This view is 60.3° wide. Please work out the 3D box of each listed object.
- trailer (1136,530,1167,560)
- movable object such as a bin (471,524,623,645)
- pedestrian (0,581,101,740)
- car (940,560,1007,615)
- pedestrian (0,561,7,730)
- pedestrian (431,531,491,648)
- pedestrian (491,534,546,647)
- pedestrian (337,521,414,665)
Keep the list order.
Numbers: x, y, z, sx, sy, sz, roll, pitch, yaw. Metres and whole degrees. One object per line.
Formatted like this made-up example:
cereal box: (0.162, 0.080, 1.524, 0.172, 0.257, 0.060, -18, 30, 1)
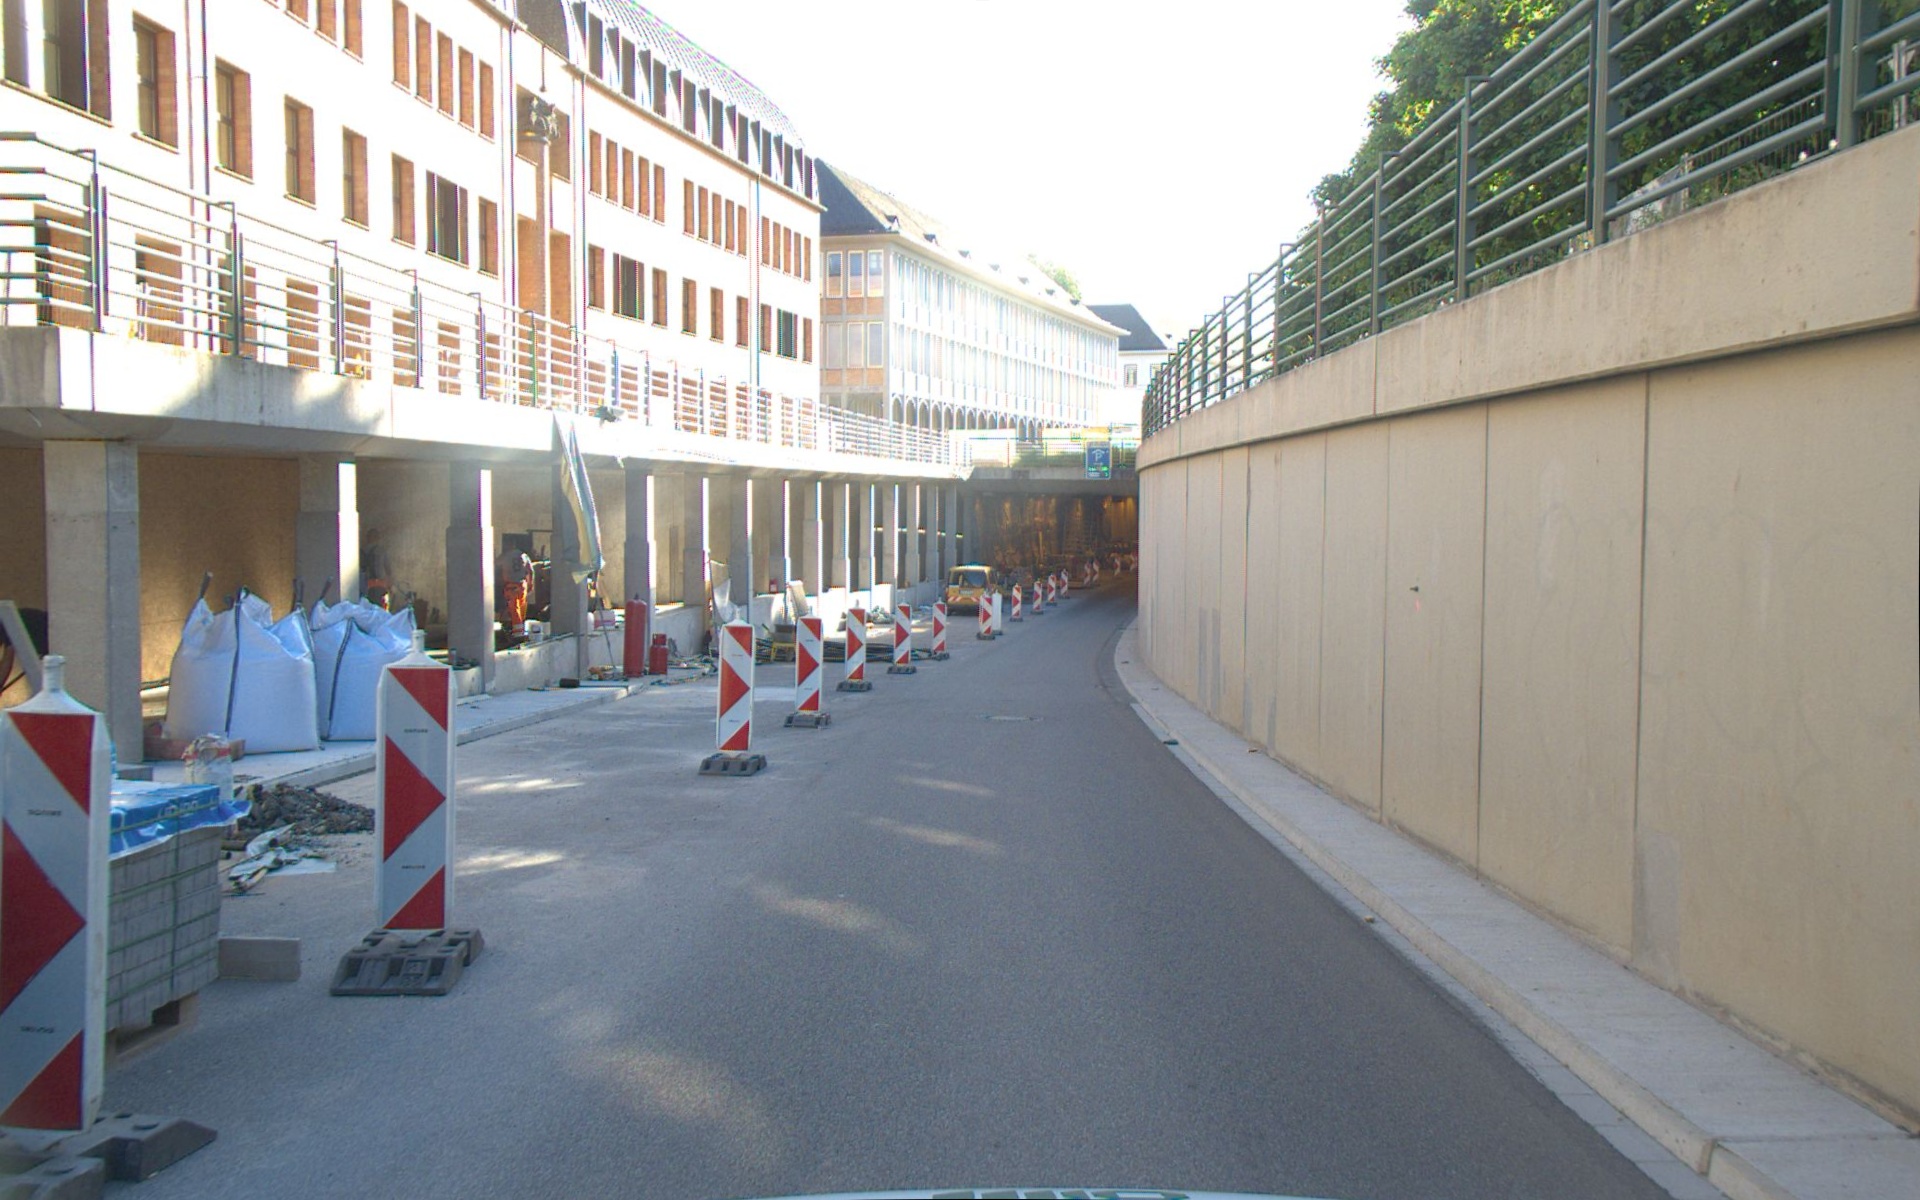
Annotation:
trailer: (12.785, -3.692, 110.476, 1.547, 1.828, 2.942, 2, 4, 16)
movable object such as a bin: (-7.334, -0.302, 29.647, 1.846, 2.021, 3.160, 1, 1, 1)
pedestrian: (-8.511, 0.539, 15.204, 0.854, 1.422, 0.782, 0, 0, -6)
car: (0.534, -0.513, 61.391, 1.809, 1.806, 4.439, 1, 3, 9)
pedestrian: (-9.398, 0.431, 15.467, 0.636, 1.607, 0.630, 0, 0, -6)
pedestrian: (-8.082, -0.169, 26.795, 0.689, 1.846, 0.710, 2, 1, 1)
pedestrian: (-7.345, -0.166, 27.526, 0.643, 1.836, 0.625, 2, 0, 11)
pedestrian: (-8.299, -0.099, 23.513, 0.663, 1.991, 0.937, 2, 0, 3)
